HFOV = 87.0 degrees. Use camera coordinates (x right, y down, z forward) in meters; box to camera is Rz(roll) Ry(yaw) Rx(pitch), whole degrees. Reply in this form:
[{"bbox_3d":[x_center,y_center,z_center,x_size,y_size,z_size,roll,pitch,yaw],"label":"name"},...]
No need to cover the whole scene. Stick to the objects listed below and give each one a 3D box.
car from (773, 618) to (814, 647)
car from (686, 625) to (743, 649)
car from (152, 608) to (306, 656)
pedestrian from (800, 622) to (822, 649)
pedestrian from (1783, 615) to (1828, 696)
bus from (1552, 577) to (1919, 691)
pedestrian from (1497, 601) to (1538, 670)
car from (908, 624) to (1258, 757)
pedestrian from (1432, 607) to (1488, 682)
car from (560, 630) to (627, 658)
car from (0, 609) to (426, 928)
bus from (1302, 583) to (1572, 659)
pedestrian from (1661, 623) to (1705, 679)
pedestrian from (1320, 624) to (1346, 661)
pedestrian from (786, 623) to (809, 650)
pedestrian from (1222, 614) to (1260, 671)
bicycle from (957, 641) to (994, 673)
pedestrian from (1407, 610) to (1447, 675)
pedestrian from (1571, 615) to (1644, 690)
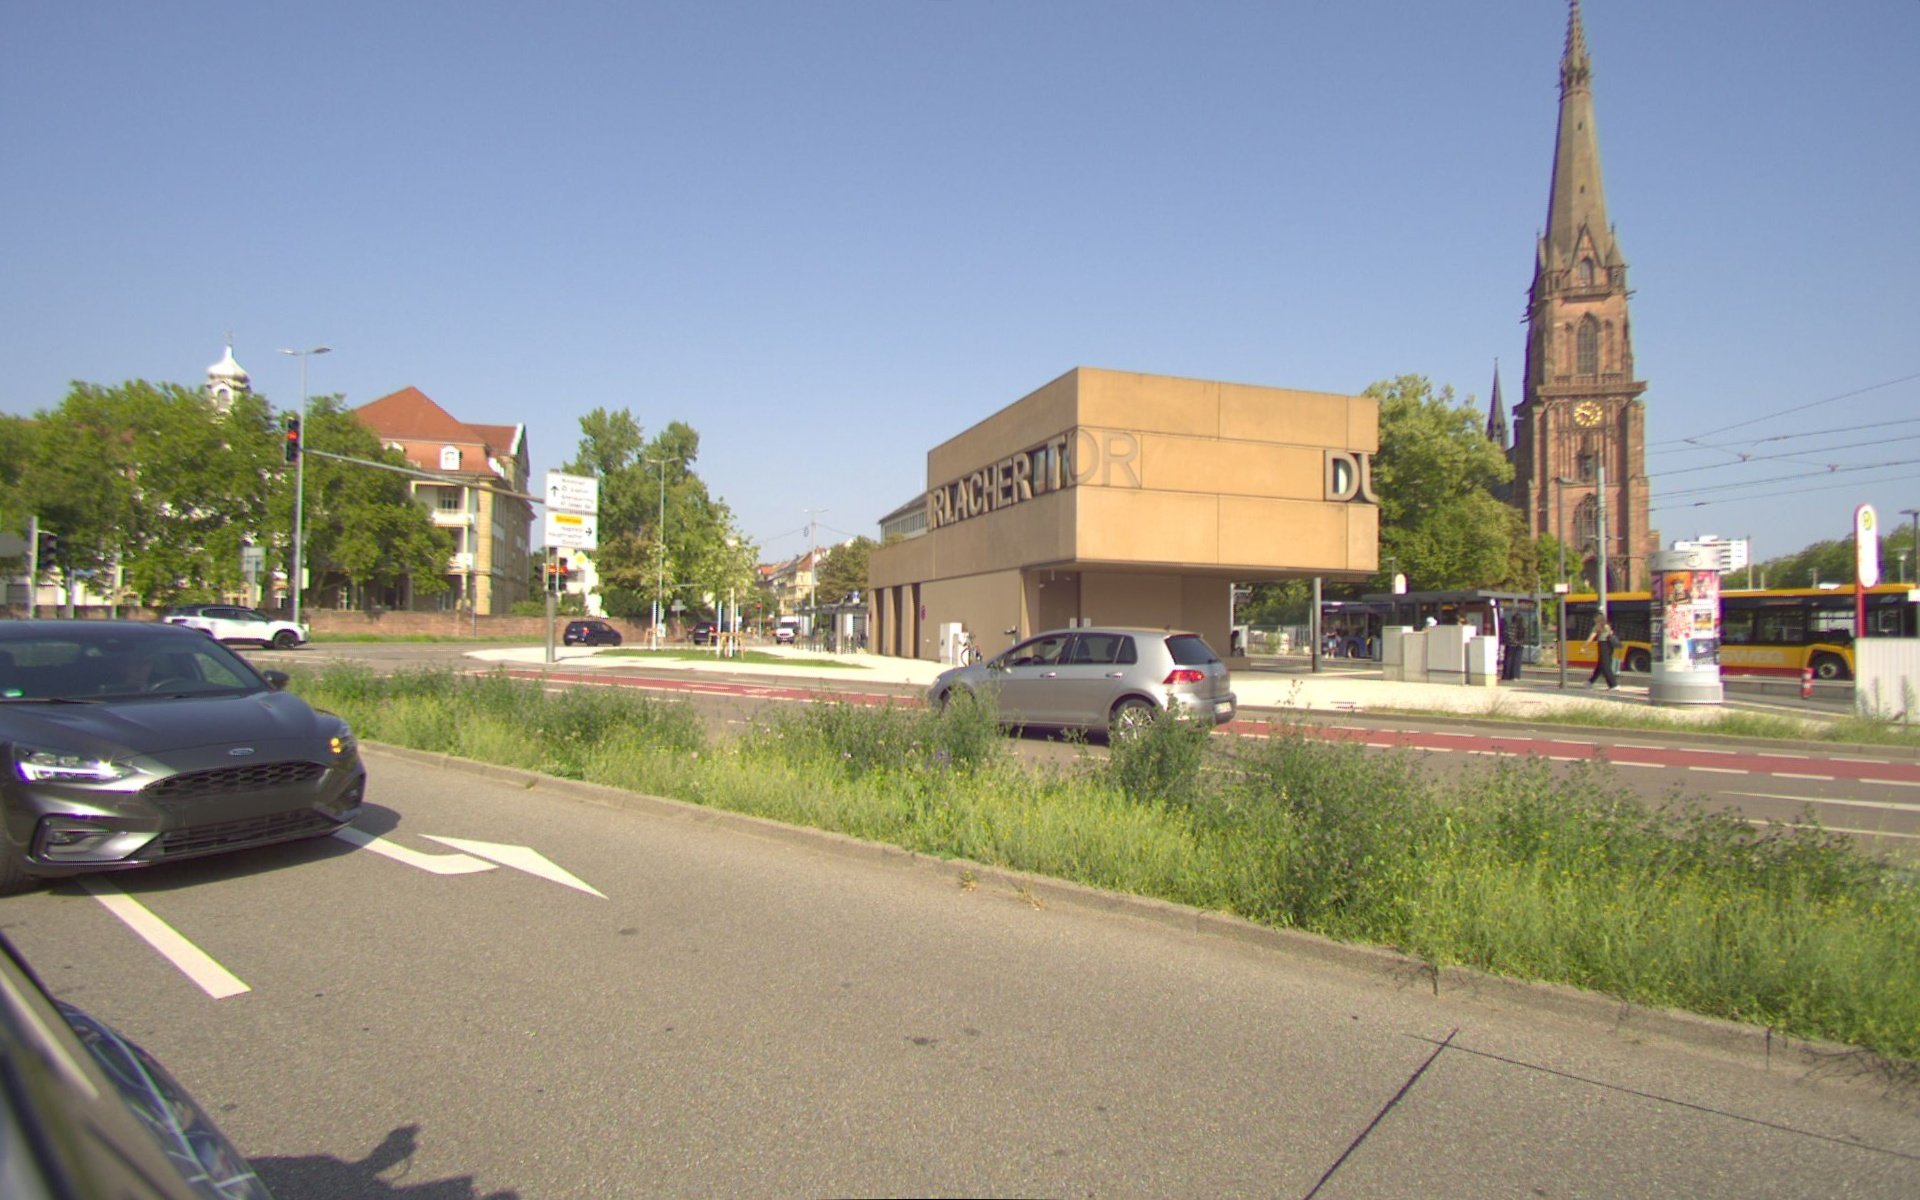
[{"bbox_3d":[-15.558,3.039,94.835,1.979,2.470,5.531,-1,0,12],"label":"car"},{"bbox_3d":[-17.019,2.564,70.377,1.982,1.646,4.350,0,-2,15],"label":"car"},{"bbox_3d":[-27.167,1.206,37.701,1.999,1.646,4.311,-3,-4,42],"label":"car"},{"bbox_3d":[-11.576,2.772,78.578,1.203,2.029,1.334,0,-2,21],"label":"pedestrian"},{"bbox_3d":[19.377,1.248,23.208,0.700,1.814,0.770,-1,-2,36],"label":"pedestrian"},{"bbox_3d":[25.808,1.094,33.230,2.670,3.132,12.252,1,-2,-18],"label":"bus"},{"bbox_3d":[14.078,0.894,25.567,0.863,1.718,0.979,-1,-2,31],"label":"pedestrian"},{"bbox_3d":[1.506,1.055,13.196,4.219,1.444,1.796,-1,-2,38],"label":"car"},{"bbox_3d":[12.247,1.090,24.798,0.974,1.783,0.868,2,-2,-37],"label":"pedestrian"},{"bbox_3d":[-20.513,2.437,56.748,1.611,1.509,3.831,0,-2,15],"label":"car"},{"bbox_3d":[-5.674,0.805,6.559,4.533,1.446,1.819,-1,-2,31],"label":"car"},{"bbox_3d":[21.164,1.021,46.486,3.242,3.000,12.836,1,-2,-18],"label":"bus"},{"bbox_3d":[23.216,1.632,32.508,0.816,1.752,0.838,2,-2,-27],"label":"pedestrian"},{"bbox_3d":[17.867,2.031,48.503,0.816,1.719,0.838,1,-2,-25],"label":"pedestrian"},{"bbox_3d":[-12.317,2.750,76.902,1.203,2.029,1.334,0,-2,21],"label":"pedestrian"},{"bbox_3d":[8.639,1.307,31.123,0.851,1.718,0.734,1,-2,-22],"label":"pedestrian"},{"bbox_3d":[0.424,1.626,29.183,0.582,0.844,1.552,-2,-1,-17],"label":"bicycle"},{"bbox_3d":[12.546,1.134,27.176,0.863,1.685,0.979,-1,-2,31],"label":"pedestrian"},{"bbox_3d":[14.021,1.128,21.934,0.852,1.571,0.992,1,-2,-12],"label":"pedestrian"}]
